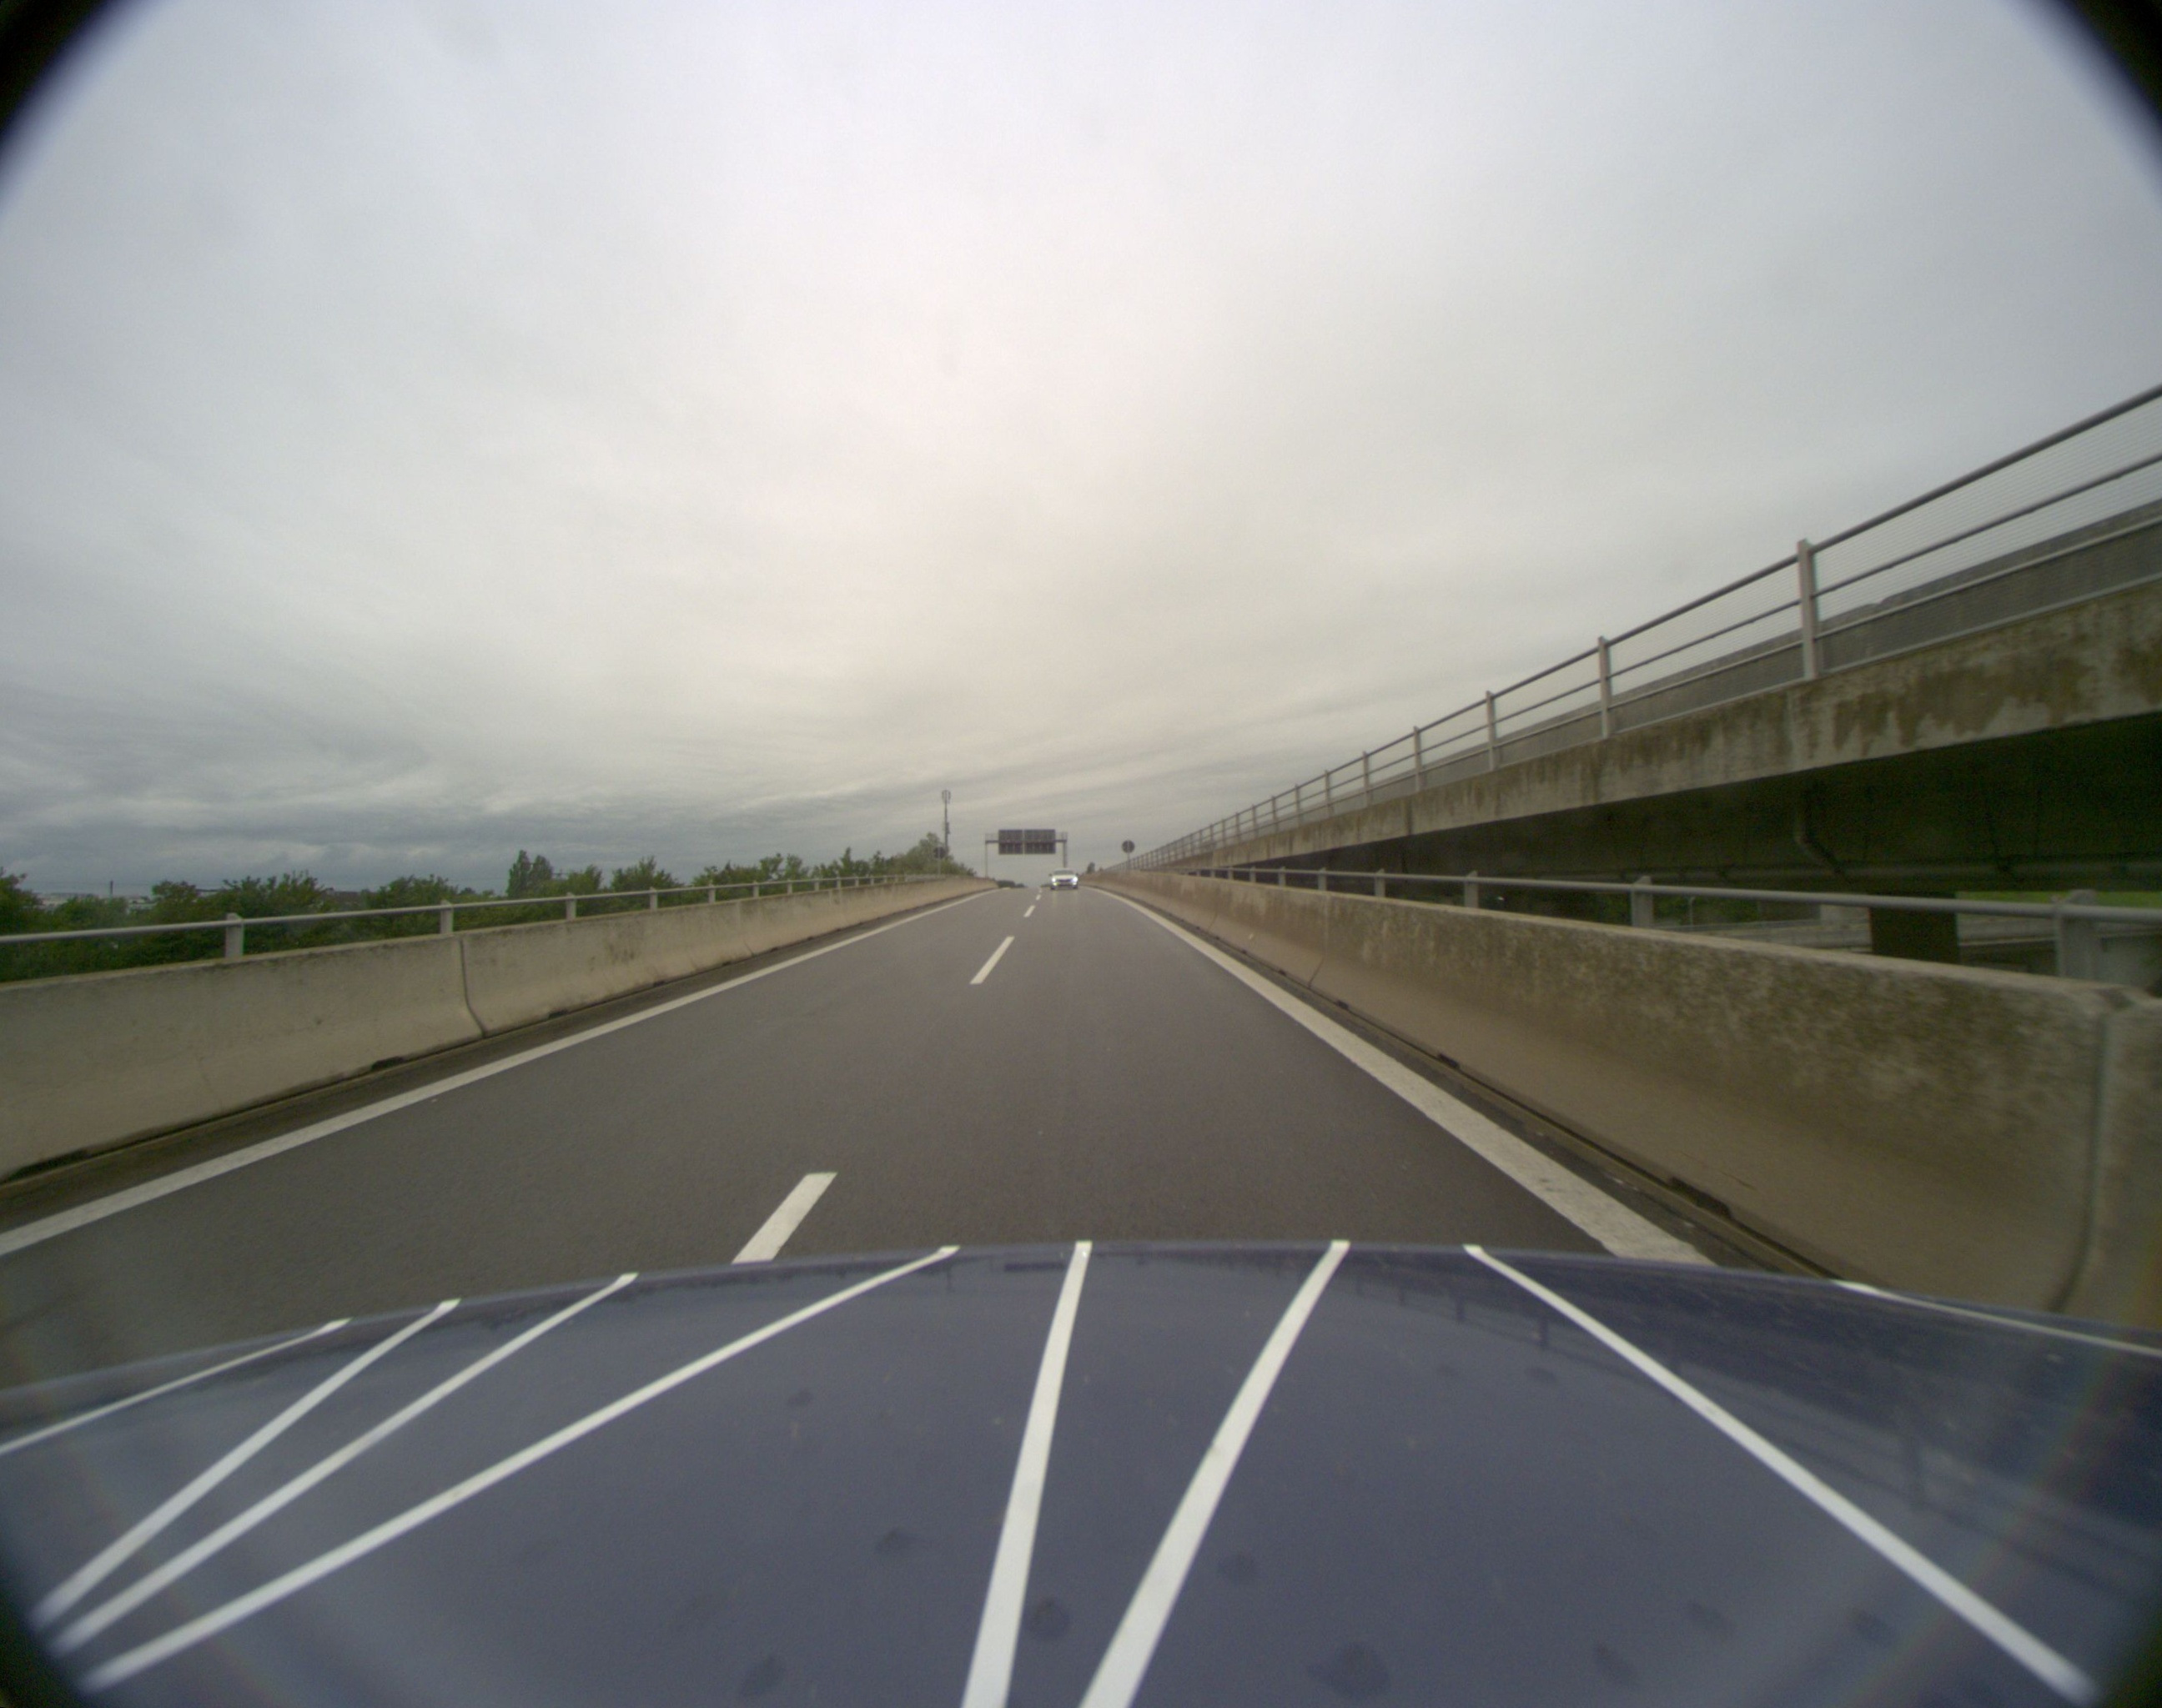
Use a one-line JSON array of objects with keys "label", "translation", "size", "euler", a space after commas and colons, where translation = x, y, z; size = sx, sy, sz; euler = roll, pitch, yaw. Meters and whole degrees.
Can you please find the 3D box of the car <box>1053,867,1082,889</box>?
[{"label": "car", "translation": [-0.878, 1.593, 51.848], "size": [1.915, 1.439, 4.556], "euler": [0, -1, 0]}]
